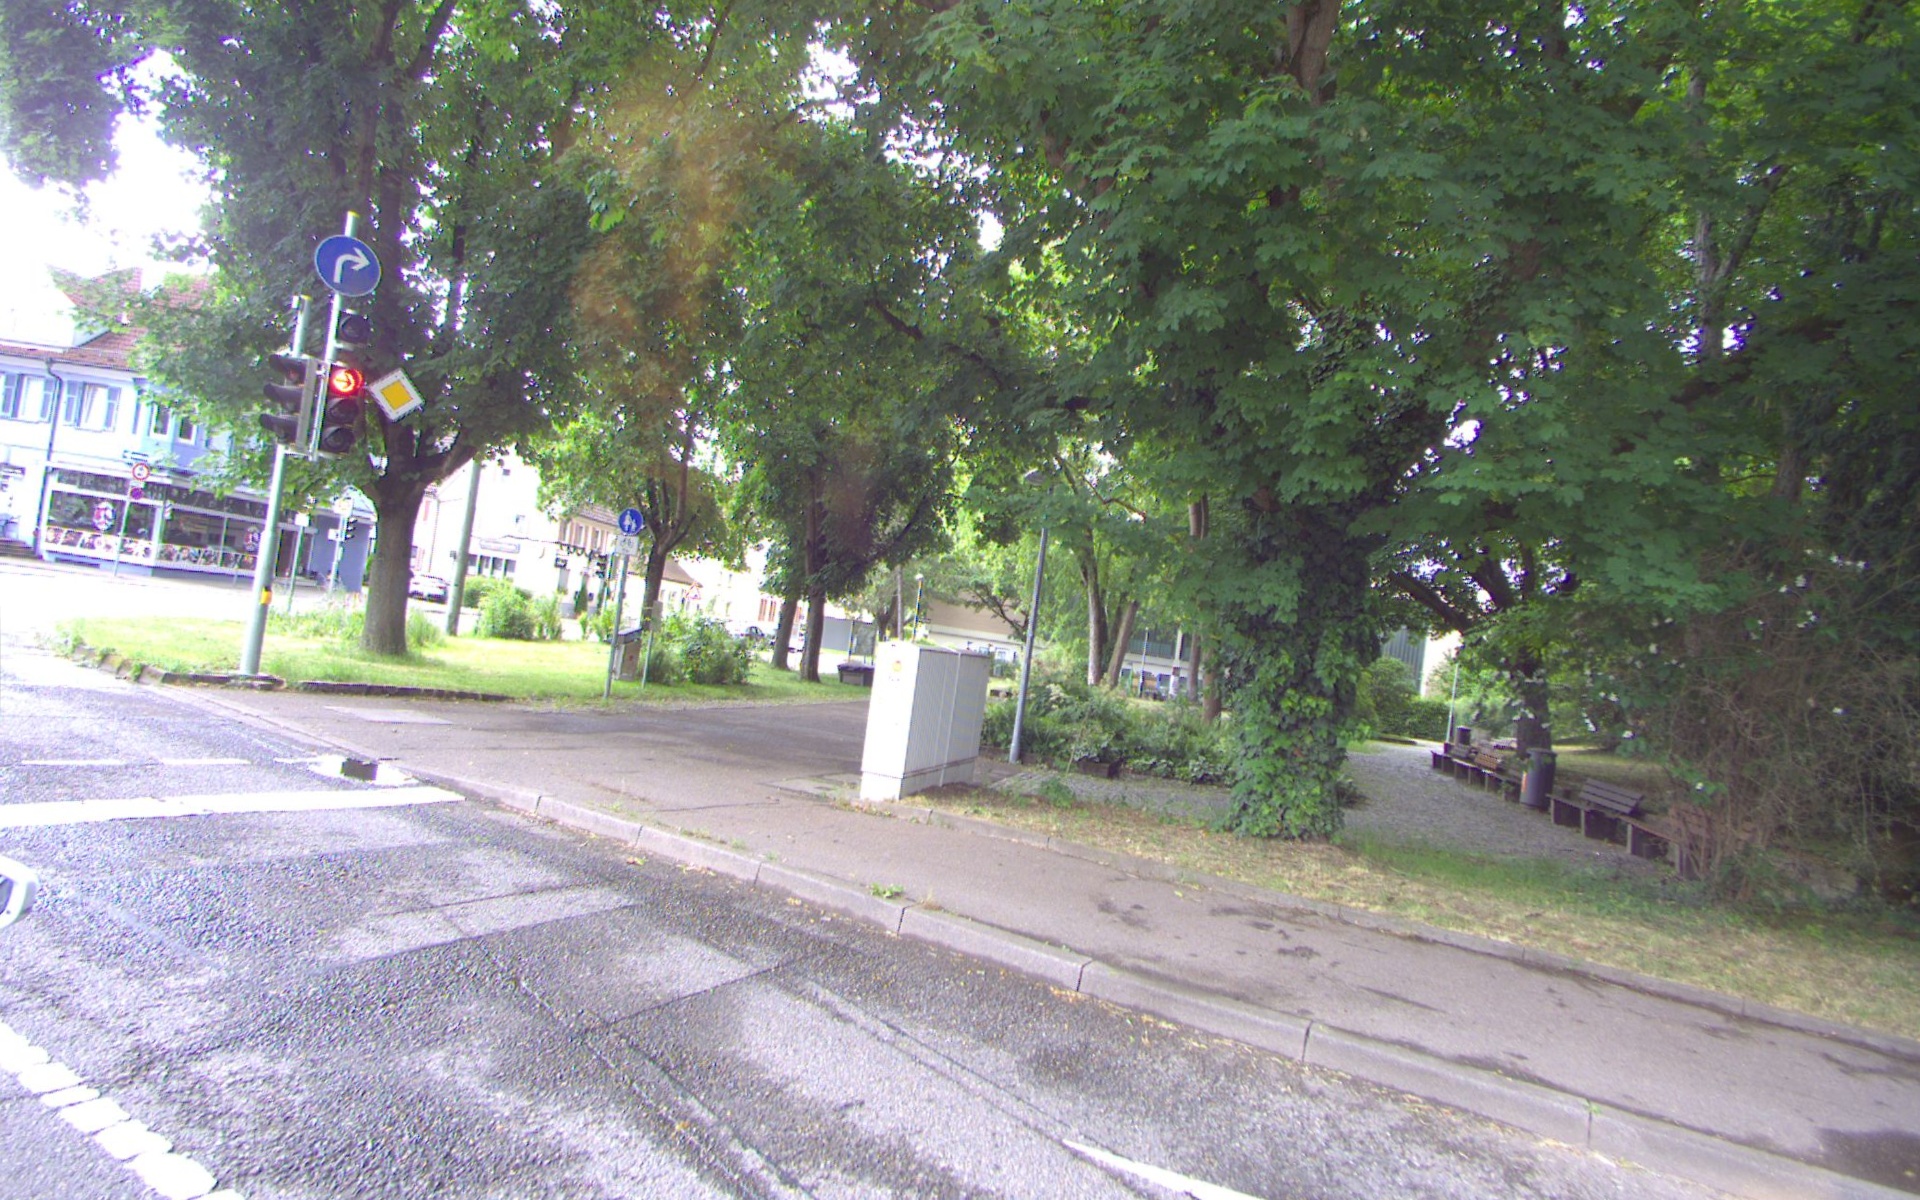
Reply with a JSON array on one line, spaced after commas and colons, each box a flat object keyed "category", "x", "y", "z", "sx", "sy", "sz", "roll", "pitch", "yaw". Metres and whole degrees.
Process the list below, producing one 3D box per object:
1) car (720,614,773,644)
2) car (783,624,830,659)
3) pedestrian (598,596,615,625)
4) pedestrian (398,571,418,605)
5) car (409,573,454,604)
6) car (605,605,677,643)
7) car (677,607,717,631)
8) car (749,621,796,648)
[{"category": "car", "x": -11.571, "y": 1.592, "z": 54.825, "sx": 1.530, "sy": 1.336, "sz": 3.514, "roll": 7, "pitch": -2, "yaw": 9}, {"category": "car", "x": -10.059, "y": 2.752, "z": 66.179, "sx": 1.750, "sy": 2.037, "sz": 4.005, "roll": 7, "pitch": -2, "yaw": 7}, {"category": "pedestrian", "x": -21.502, "y": 0.637, "z": 61.135, "sx": 0.600, "sy": 1.668, "sz": 0.610, "roll": 7, "pitch": -1, "yaw": 3}, {"category": "pedestrian", "x": -26.539, "y": -0.582, "z": 48.404, "sx": 0.578, "sy": 1.535, "sz": 0.458, "roll": 7, "pitch": -1, "yaw": -14}, {"category": "car", "x": -27.873, "y": -0.608, "z": 53.148, "sx": 1.479, "sy": 1.384, "sz": 3.166, "roll": 8, "pitch": -2, "yaw": -19}, {"category": "car", "x": -14.013, "y": 1.086, "z": 44.361, "sx": 1.530, "sy": 1.336, "sz": 3.514, "roll": 7, "pitch": -2, "yaw": 9}, {"category": "car", "x": -19.373, "y": 1.435, "z": 74.253, "sx": 1.528, "sy": 1.436, "sz": 4.005, "roll": 7, "pitch": -2, "yaw": 4}, {"category": "car", "x": -11.170, "y": 2.065, "z": 60.110, "sx": 1.530, "sy": 1.336, "sz": 3.514, "roll": 7, "pitch": -2, "yaw": 8}]
